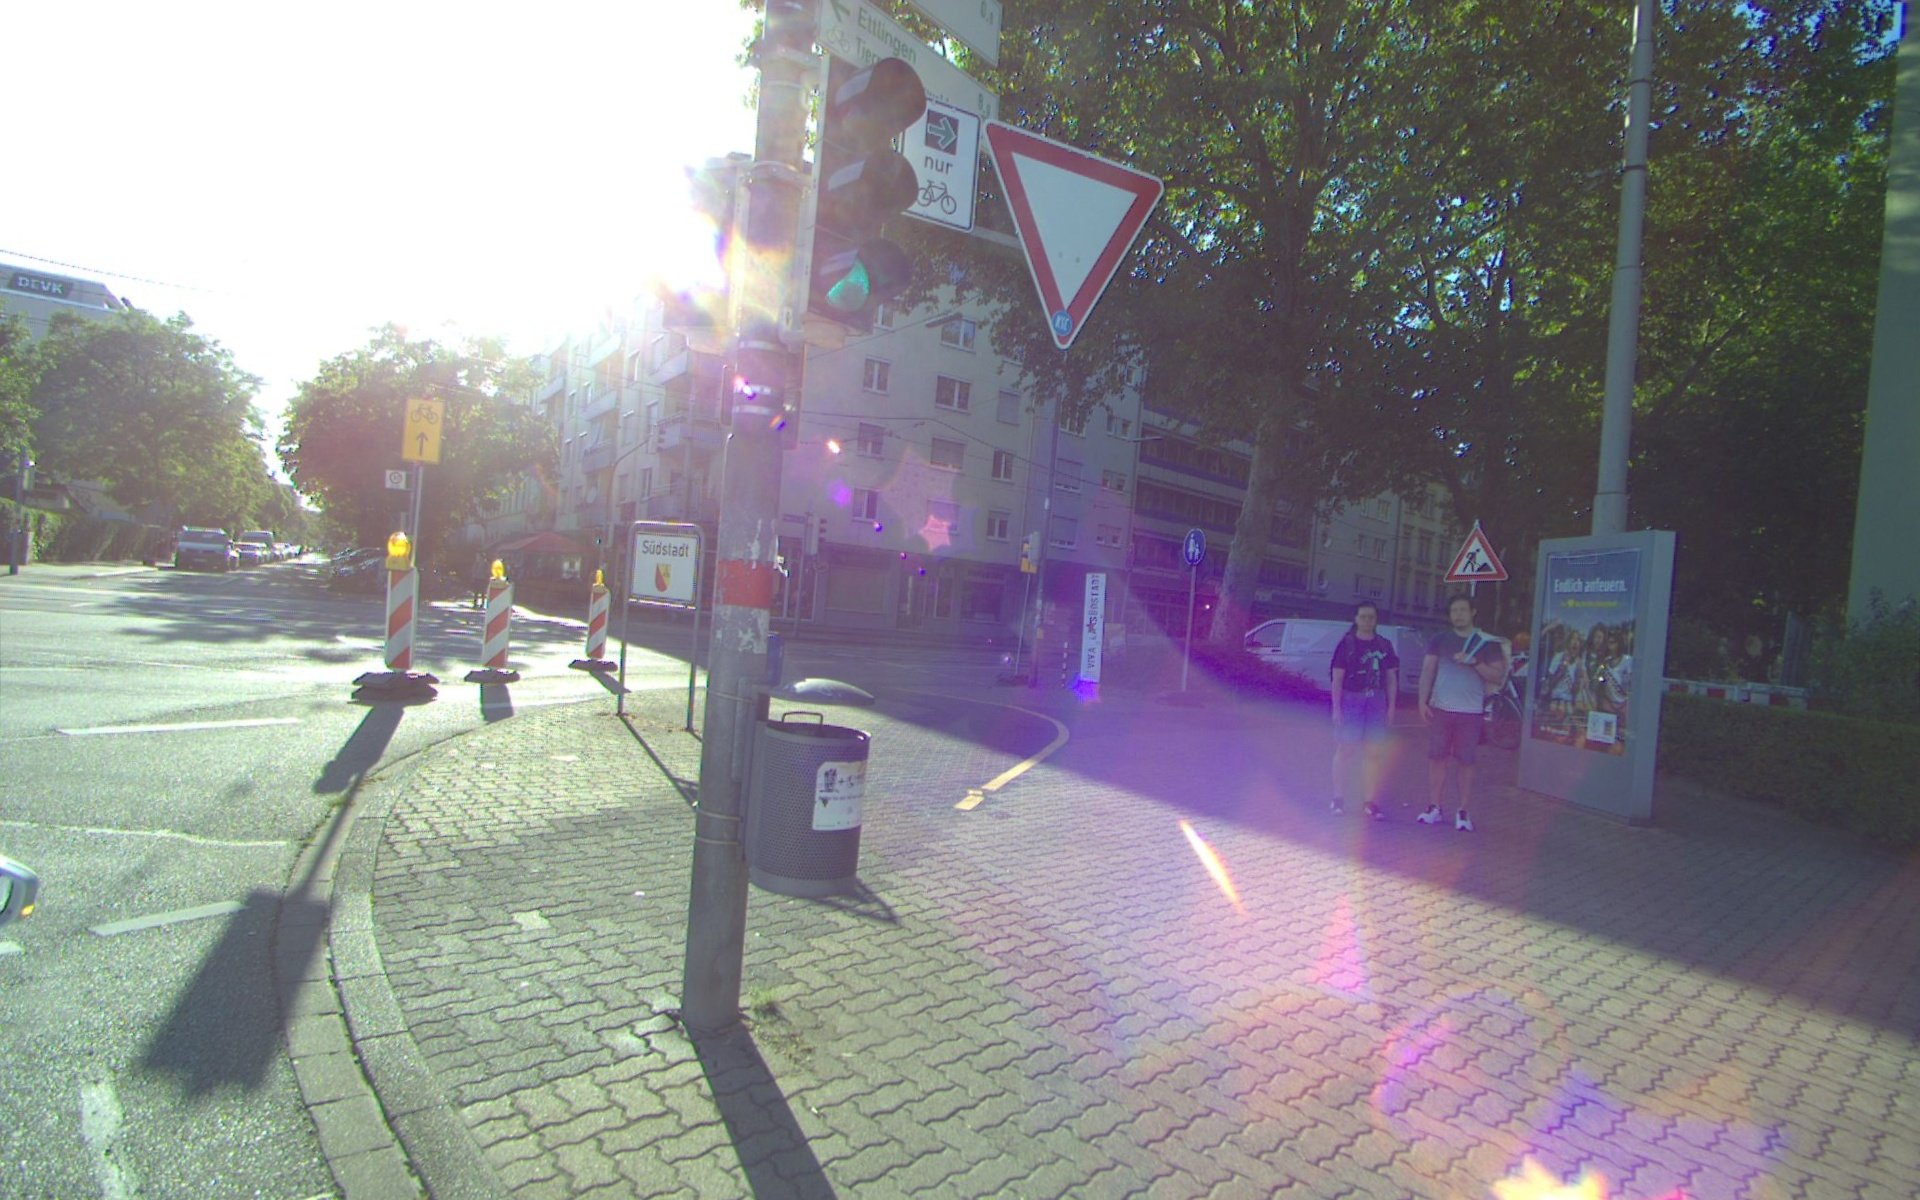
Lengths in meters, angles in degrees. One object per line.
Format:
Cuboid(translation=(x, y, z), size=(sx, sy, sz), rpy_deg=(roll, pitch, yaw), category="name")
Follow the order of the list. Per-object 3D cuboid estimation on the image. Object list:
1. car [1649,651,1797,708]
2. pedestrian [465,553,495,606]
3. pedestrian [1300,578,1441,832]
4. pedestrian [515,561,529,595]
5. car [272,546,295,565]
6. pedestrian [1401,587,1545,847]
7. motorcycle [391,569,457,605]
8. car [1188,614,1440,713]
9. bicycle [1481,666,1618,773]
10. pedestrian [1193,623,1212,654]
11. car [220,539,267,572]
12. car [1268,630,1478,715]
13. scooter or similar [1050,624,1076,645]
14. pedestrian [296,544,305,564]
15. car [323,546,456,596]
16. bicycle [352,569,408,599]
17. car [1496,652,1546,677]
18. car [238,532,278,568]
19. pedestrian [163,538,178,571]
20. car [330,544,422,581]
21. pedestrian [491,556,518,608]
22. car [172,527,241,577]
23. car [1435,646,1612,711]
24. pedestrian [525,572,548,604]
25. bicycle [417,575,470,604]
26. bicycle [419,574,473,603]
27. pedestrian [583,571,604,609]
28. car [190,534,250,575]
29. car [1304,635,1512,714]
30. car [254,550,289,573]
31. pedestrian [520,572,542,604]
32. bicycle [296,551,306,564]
Cuboid(translation=(40.772, 4.222, 53.929), size=(2.044, 2.396, 5.901), rpy_deg=(5, 0, -40), category="car")
Cuboid(translation=(-16.953, -0.716, 35.511), size=(0.682, 1.772, 0.793), rpy_deg=(5, 1, -14), category="pedestrian")
Cuboid(translation=(3.098, 0.761, 7.664), size=(0.680, 1.772, 0.795), rpy_deg=(5, 0, 9), category="pedestrian")
Cuboid(translation=(-26.576, -1.341, 61.042), size=(0.533, 2.039, 0.506), rpy_deg=(4, 1, -40), category="pedestrian")
Cuboid(translation=(-77.937, -5.118, 115.969), size=(1.982, 1.707, 3.967), rpy_deg=(9, -5, -34), category="car")
Cuboid(translation=(3.795, 0.835, 7.513), size=(0.680, 1.772, 0.795), rpy_deg=(5, 1, 17), category="pedestrian")
Cuboid(translation=(-19.294, -0.460, 36.216), size=(1.941, 1.123, 0.829), rpy_deg=(5, 0, -39), category="motorcycle")
Cuboid(translation=(8.115, 1.412, 23.503), size=(1.917, 1.848, 5.180), rpy_deg=(6, -3, -41), category="car")
Cuboid(translation=(7.111, 1.402, 12.255), size=(0.511, 1.070, 1.934), rpy_deg=(5, 0, 2), category="bicycle")
Cuboid(translation=(13.593, 2.161, 56.367), size=(0.620, 1.669, 0.658), rpy_deg=(5, 1, -40), category="pedestrian")
Cuboid(translation=(-47.043, -2.914, 66.116), size=(2.340, 1.817, 5.260), rpy_deg=(5, -1, -35), category="car")
Cuboid(translation=(10.191, 1.771, 25.109), size=(1.927, 1.622, 4.374), rpy_deg=(5, 0, -40), category="car")
Cuboid(translation=(5.062, 1.692, 49.334), size=(0.461, 0.966, 1.423), rpy_deg=(5, 0, 42), category="scooter or similar")
Cuboid(translation=(-71.977, -5.008, 109.781), size=(0.731, 2.039, 0.737), rpy_deg=(4, 1, -31), category="pedestrian")
Cuboid(translation=(-29.054, -1.423, 51.330), size=(5.586, 1.947, 2.341), rpy_deg=(6, -2, -36), category="car")
Cuboid(translation=(-21.435, -0.589, 37.188), size=(1.711, 0.944, 0.666), rpy_deg=(5, 0, -34), category="bicycle")
Cuboid(translation=(42.450, 4.923, 76.089), size=(4.360, 1.584, 1.878), rpy_deg=(5, 0, -42), category="car")
Cuboid(translation=(-55.427, -3.916, 79.403), size=(2.340, 2.546, 5.260), rpy_deg=(5, 0, -35), category="car")
Cuboid(translation=(-44.005, -2.551, 56.068), size=(0.576, 1.752, 0.602), rpy_deg=(5, 0, -39), category="pedestrian")
Cuboid(translation=(-39.474, -2.491, 68.049), size=(5.059, 1.947, 2.341), rpy_deg=(6, -2, -36), category="car")
Cuboid(translation=(-16.268, -0.632, 35.905), size=(0.685, 1.772, 0.834), rpy_deg=(5, 1, -30), category="pedestrian")
Cuboid(translation=(-35.943, -2.272, 48.115), size=(2.340, 2.039, 5.260), rpy_deg=(5, -1, -35), category="car")
Cuboid(translation=(18.516, 2.547, 33.250), size=(1.904, 1.622, 4.676), rpy_deg=(5, -1, -40), category="car")
Cuboid(translation=(-19.178, -0.543, 45.582), size=(0.804, 1.380, 0.908), rpy_deg=(4, 0, -28), category="pedestrian")
Cuboid(translation=(-19.804, -0.399, 38.579), size=(1.711, 0.944, 0.557), rpy_deg=(5, 0, -34), category="bicycle")
Cuboid(translation=(-19.385, -0.441, 37.938), size=(1.711, 0.944, 0.557), rpy_deg=(5, 0, -34), category="bicycle")
Cuboid(translation=(-16.154, -0.420, 44.304), size=(0.472, 1.612, 0.616), rpy_deg=(5, 1, 40), category="pedestrian")
Cuboid(translation=(-39.179, -2.397, 53.358), size=(2.340, 1.817, 5.260), rpy_deg=(5, -1, -35), category="car")
Cuboid(translation=(11.900, 1.950, 26.992), size=(1.904, 1.622, 4.676), rpy_deg=(5, -1, -40), category="car")
Cuboid(translation=(-63.614, -3.593, 92.979), size=(2.337, 1.817, 5.266), rpy_deg=(5, -1, -32), category="car")
Cuboid(translation=(-19.902, -0.549, 46.686), size=(0.804, 1.380, 0.908), rpy_deg=(4, 0, -28), category="pedestrian")
Cuboid(translation=(-71.983, -4.633, 109.835), size=(0.760, 1.340, 1.908), rpy_deg=(5, 0, -32), category="bicycle")
